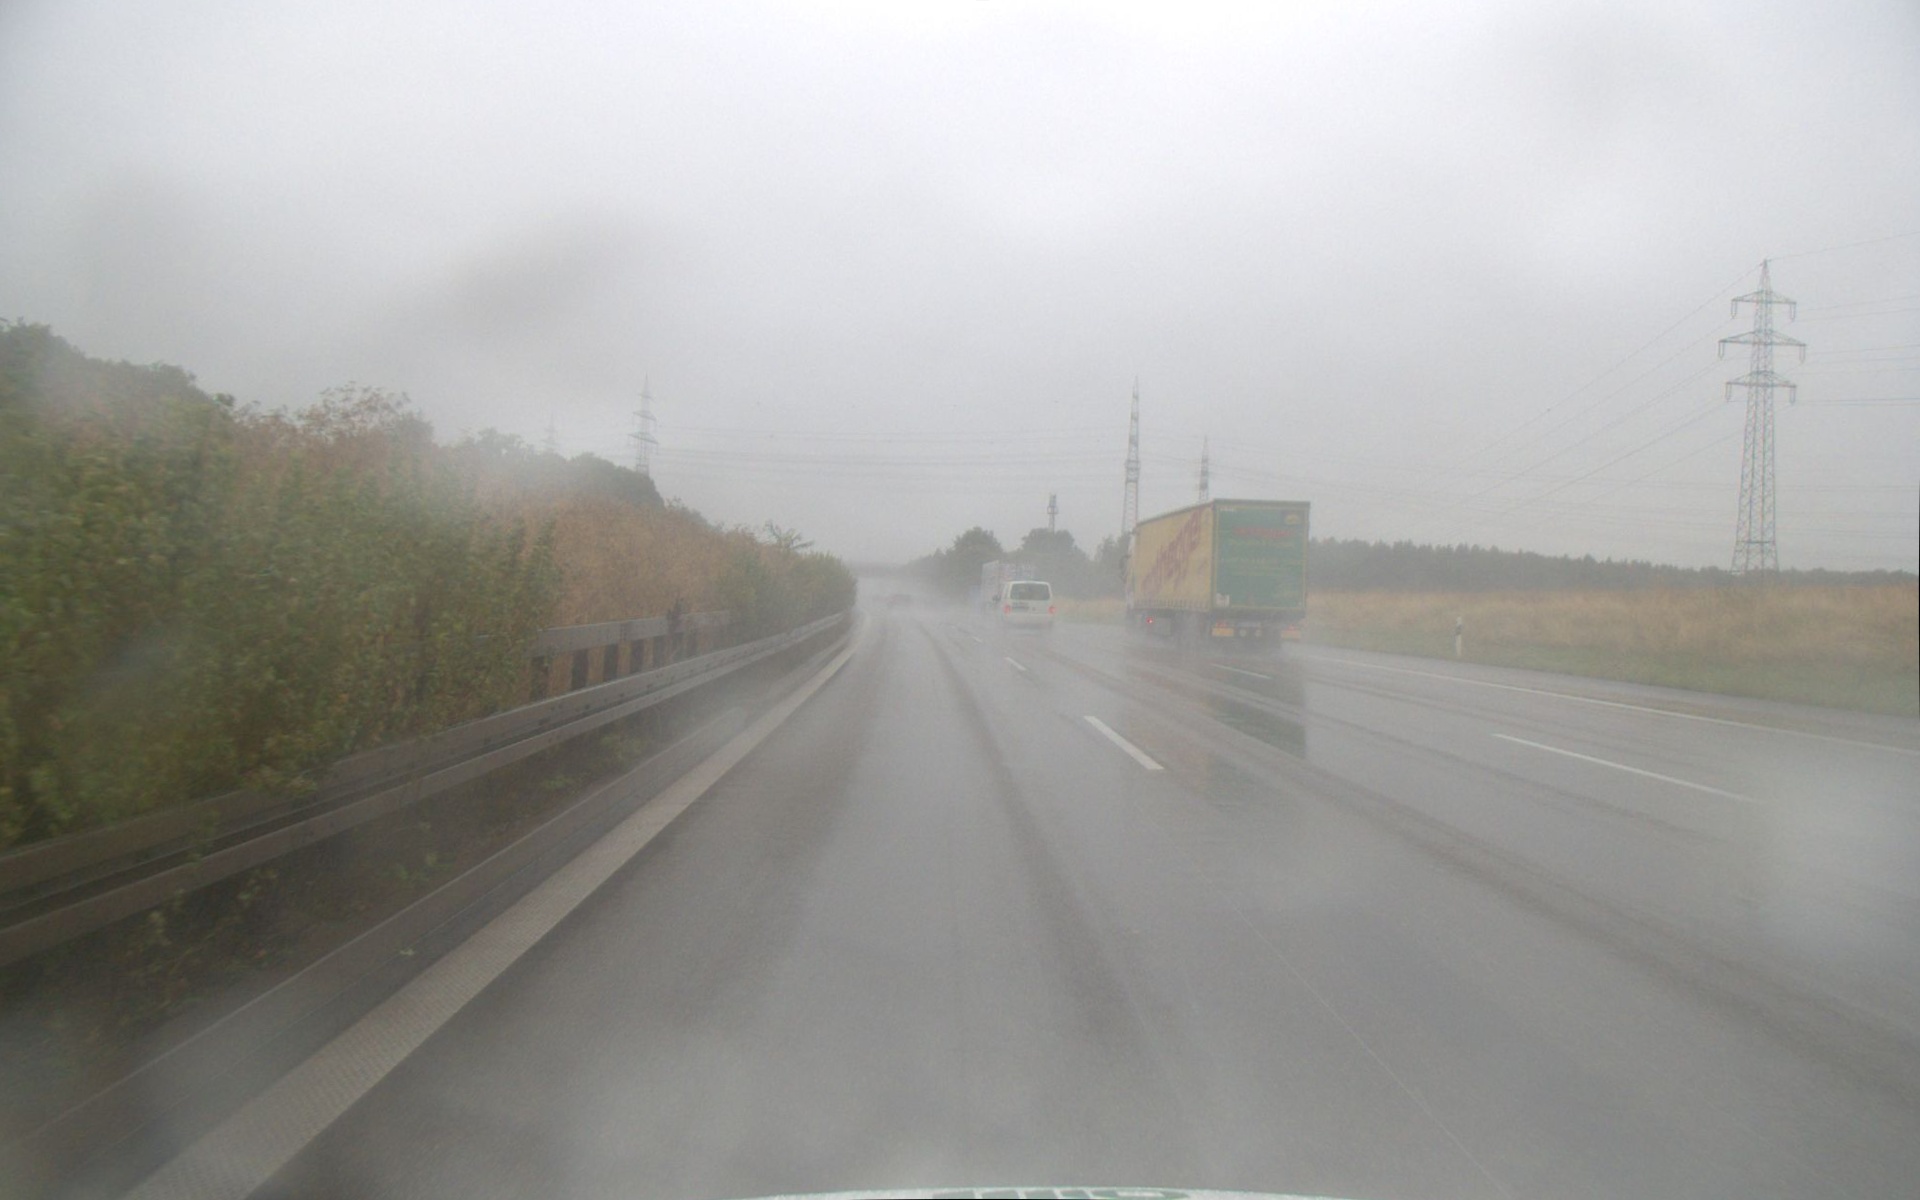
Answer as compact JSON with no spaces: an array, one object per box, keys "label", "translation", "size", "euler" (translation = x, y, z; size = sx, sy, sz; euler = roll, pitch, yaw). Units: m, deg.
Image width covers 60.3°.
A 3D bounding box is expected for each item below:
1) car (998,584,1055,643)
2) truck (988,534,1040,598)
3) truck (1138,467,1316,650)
[{"label":"car","translation":[2.466,0.454,60.472],"size":[1.952,2.049,4.002],"euler":[1,1,3]},{"label":"truck","translation":[3.833,-2.413,119.098],"size":[3.167,4.386,8.834],"euler":[1,1,-2]},{"label":"truck","translation":[7.799,-1.124,51.098],"size":[4.101,4.711,16.115],"euler":[1,0,5]}]
